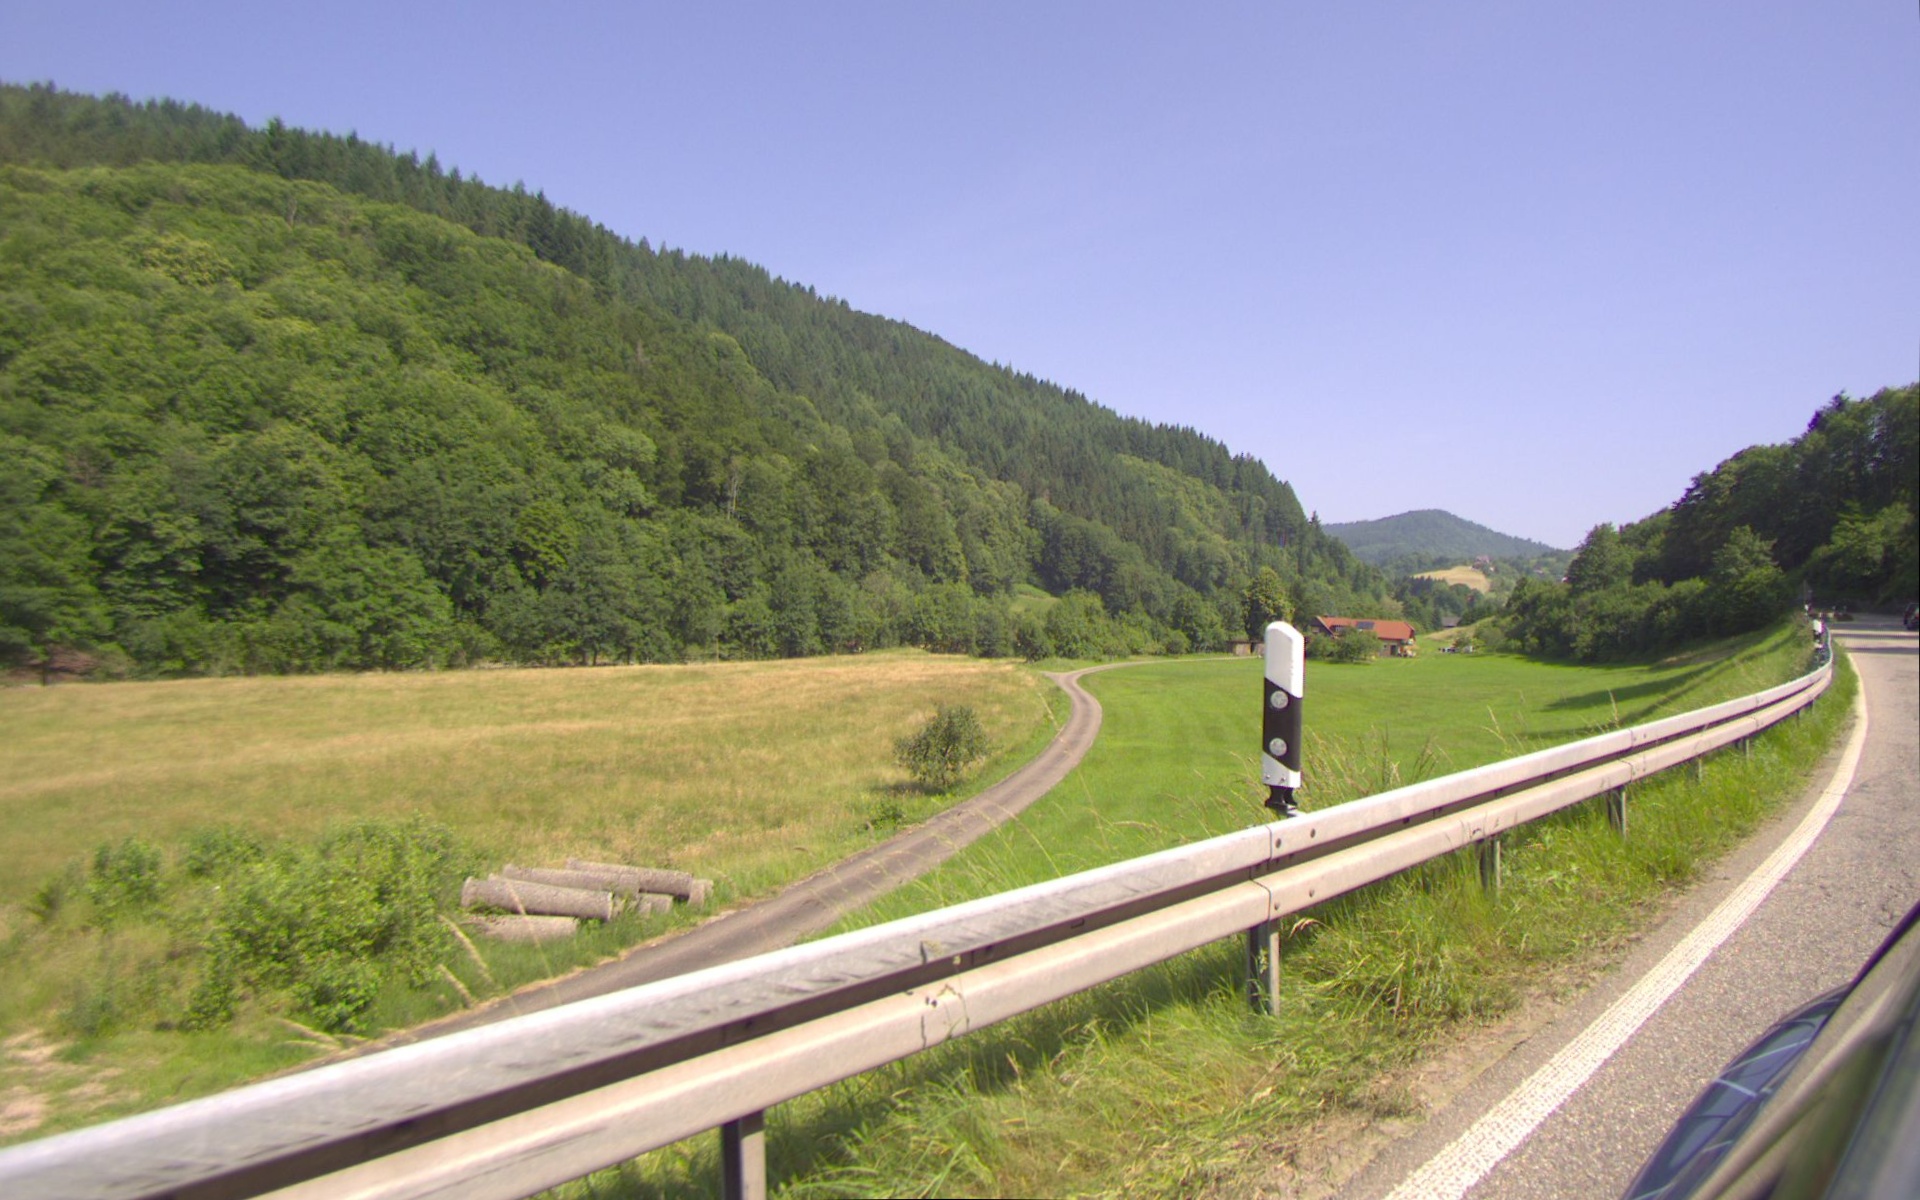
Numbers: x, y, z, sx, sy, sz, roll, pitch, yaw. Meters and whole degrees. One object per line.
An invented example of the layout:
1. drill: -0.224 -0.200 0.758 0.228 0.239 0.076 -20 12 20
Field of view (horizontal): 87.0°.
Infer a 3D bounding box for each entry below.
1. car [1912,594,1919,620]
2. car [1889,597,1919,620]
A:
1. car: 53.836 0.376 55.670 1.761 1.414 4.087 -1 0 39
2. car: 71.814 0.596 76.663 1.886 1.665 4.196 0 0 40
